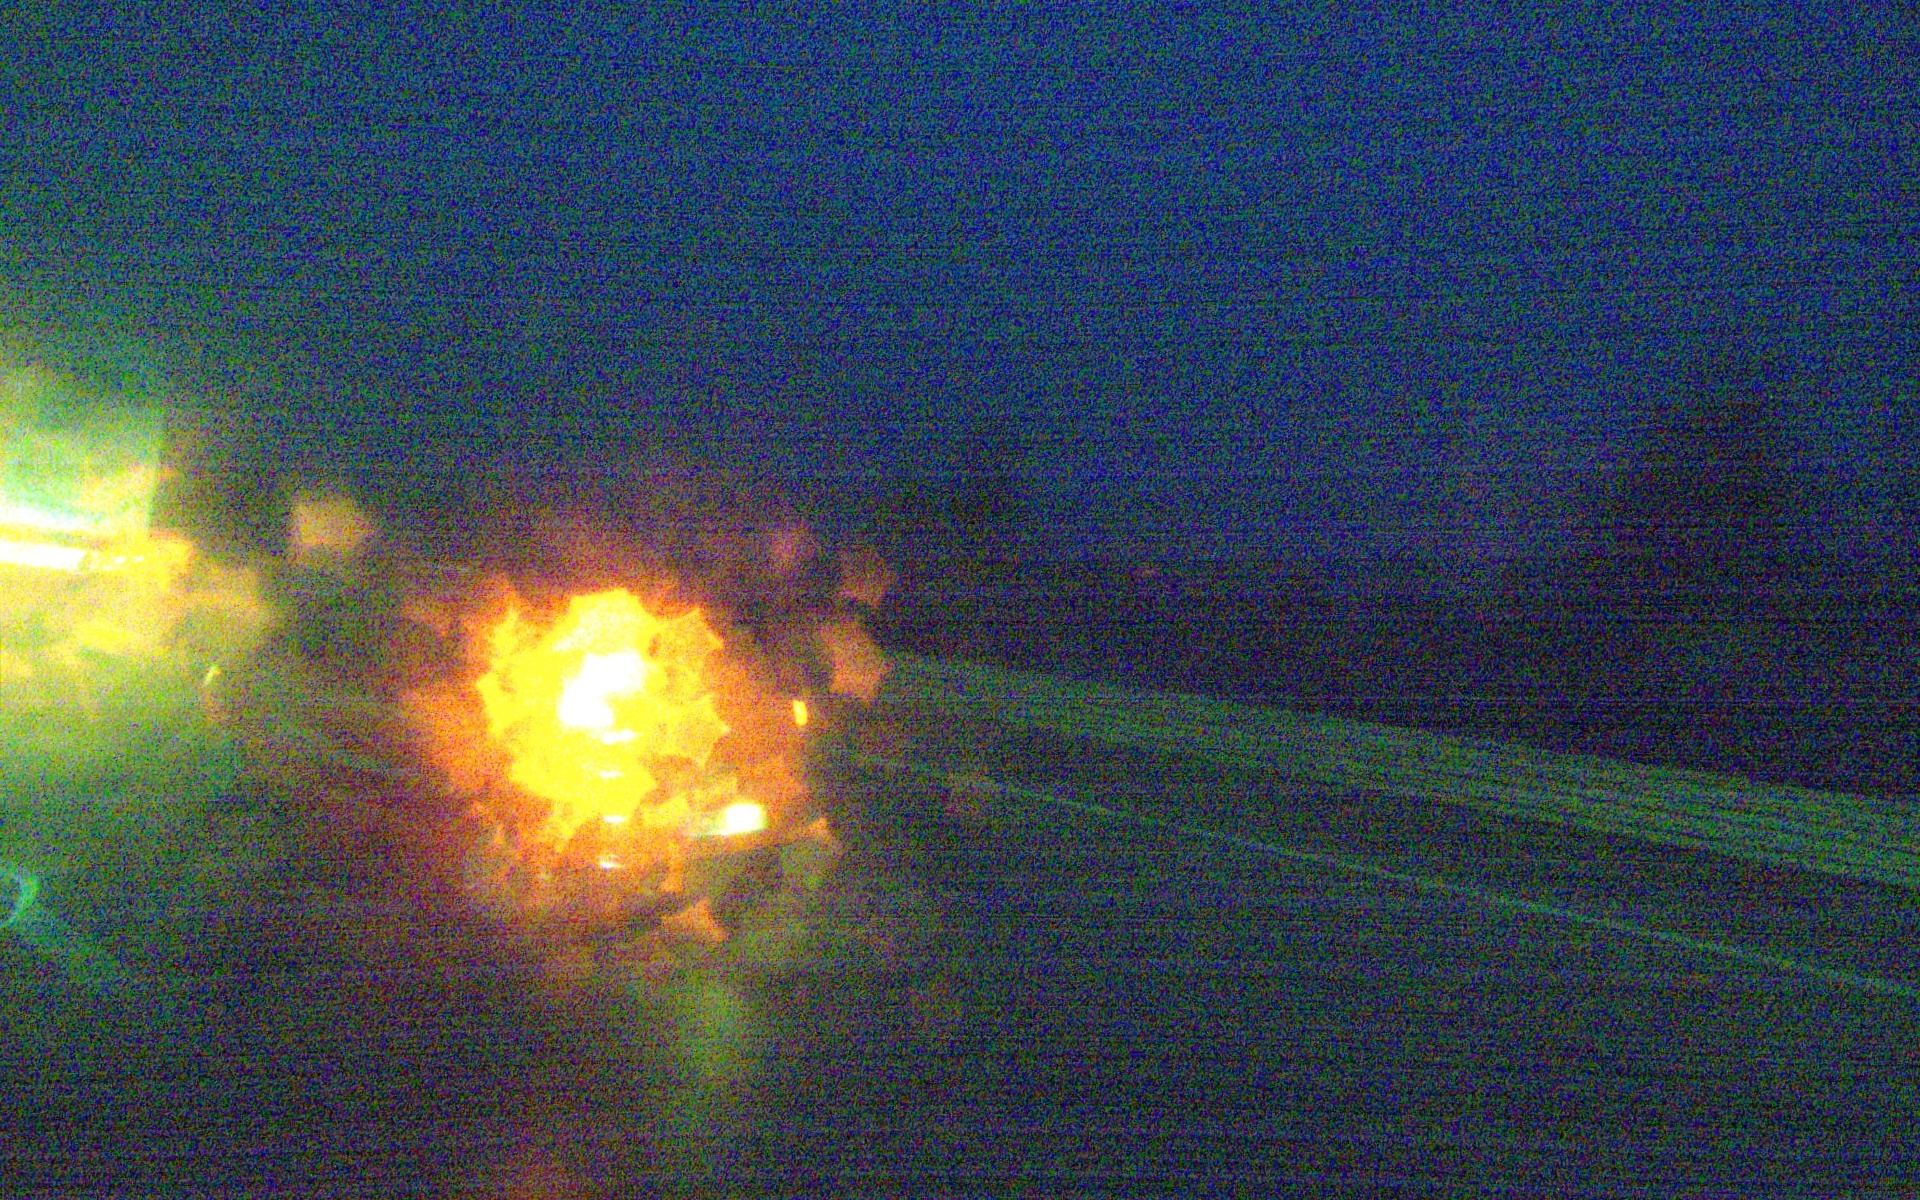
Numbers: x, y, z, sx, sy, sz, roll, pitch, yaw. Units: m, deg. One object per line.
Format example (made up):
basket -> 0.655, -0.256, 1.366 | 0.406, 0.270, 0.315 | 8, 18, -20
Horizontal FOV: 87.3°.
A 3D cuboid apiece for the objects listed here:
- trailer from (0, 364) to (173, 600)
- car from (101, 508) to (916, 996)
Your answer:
trailer -> -23.052, -2.773, 23.098 | 14.248, 4.161, 2.905 | 6, 1, 32
car -> -2.621, 0.504, 5.478 | 4.419, 1.594, 1.743 | 6, -1, 31
